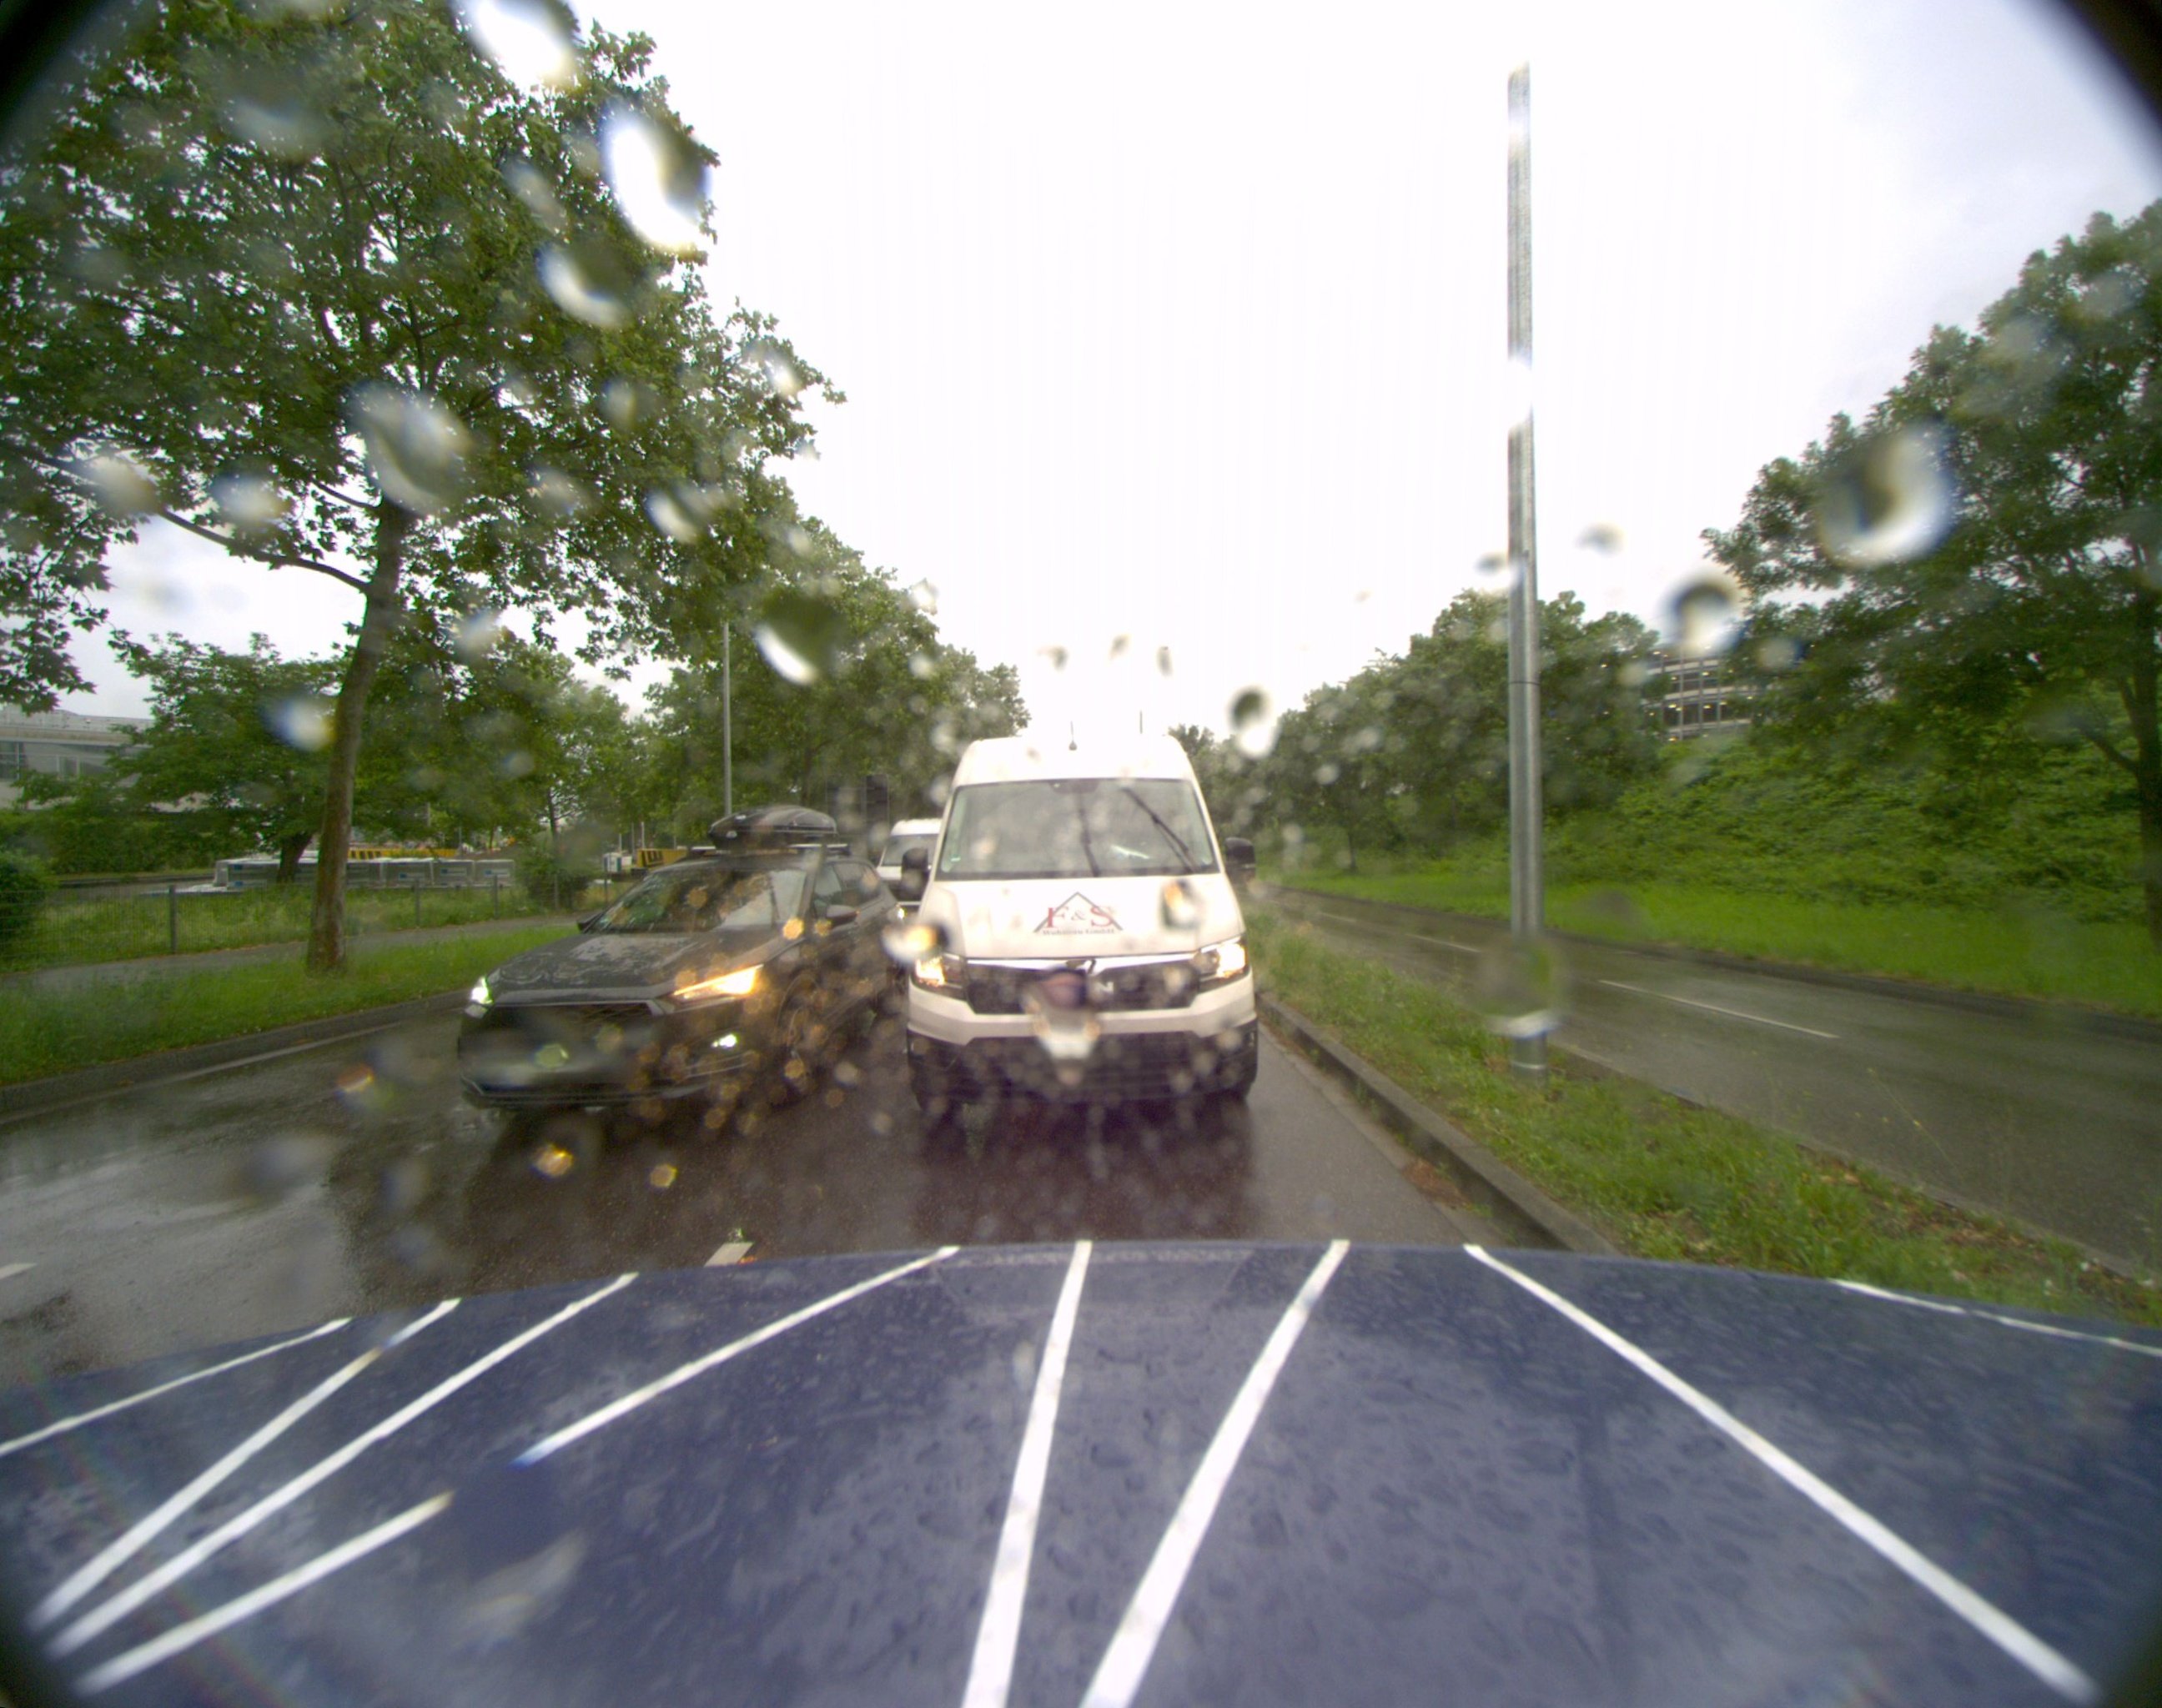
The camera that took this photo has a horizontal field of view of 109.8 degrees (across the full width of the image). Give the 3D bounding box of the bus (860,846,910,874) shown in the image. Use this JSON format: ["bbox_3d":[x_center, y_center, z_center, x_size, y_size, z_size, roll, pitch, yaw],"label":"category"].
[{"bbox_3d":[-19.148,0.575,74.385,4.370,2.553,1.711,-2,1,0],"label":"bus"}]

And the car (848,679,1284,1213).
[{"bbox_3d":[-0.114,0.430,6.454,2.027,2.498,5.695,-1,0,-1],"label":"car"}]

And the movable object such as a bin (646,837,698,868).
[{"bbox_3d":[-48.179,-0.232,89.583,4.947,3.415,1.913,-3,1,-44],"label":"movable object such as a bin"}]

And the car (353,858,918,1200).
[{"bbox_3d":[-2.751,0.907,6.100,1.894,1.688,4.423,-1,0,0],"label":"car"}]

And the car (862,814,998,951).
[{"bbox_3d":[-3.002,0.513,16.363,1.894,2.432,5.317,-1,0,-1],"label":"car"}]

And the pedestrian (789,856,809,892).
[{"bbox_3d":[-13.733,0.976,37.003,0.646,1.707,0.656,-2,1,1],"label":"pedestrian"}]
